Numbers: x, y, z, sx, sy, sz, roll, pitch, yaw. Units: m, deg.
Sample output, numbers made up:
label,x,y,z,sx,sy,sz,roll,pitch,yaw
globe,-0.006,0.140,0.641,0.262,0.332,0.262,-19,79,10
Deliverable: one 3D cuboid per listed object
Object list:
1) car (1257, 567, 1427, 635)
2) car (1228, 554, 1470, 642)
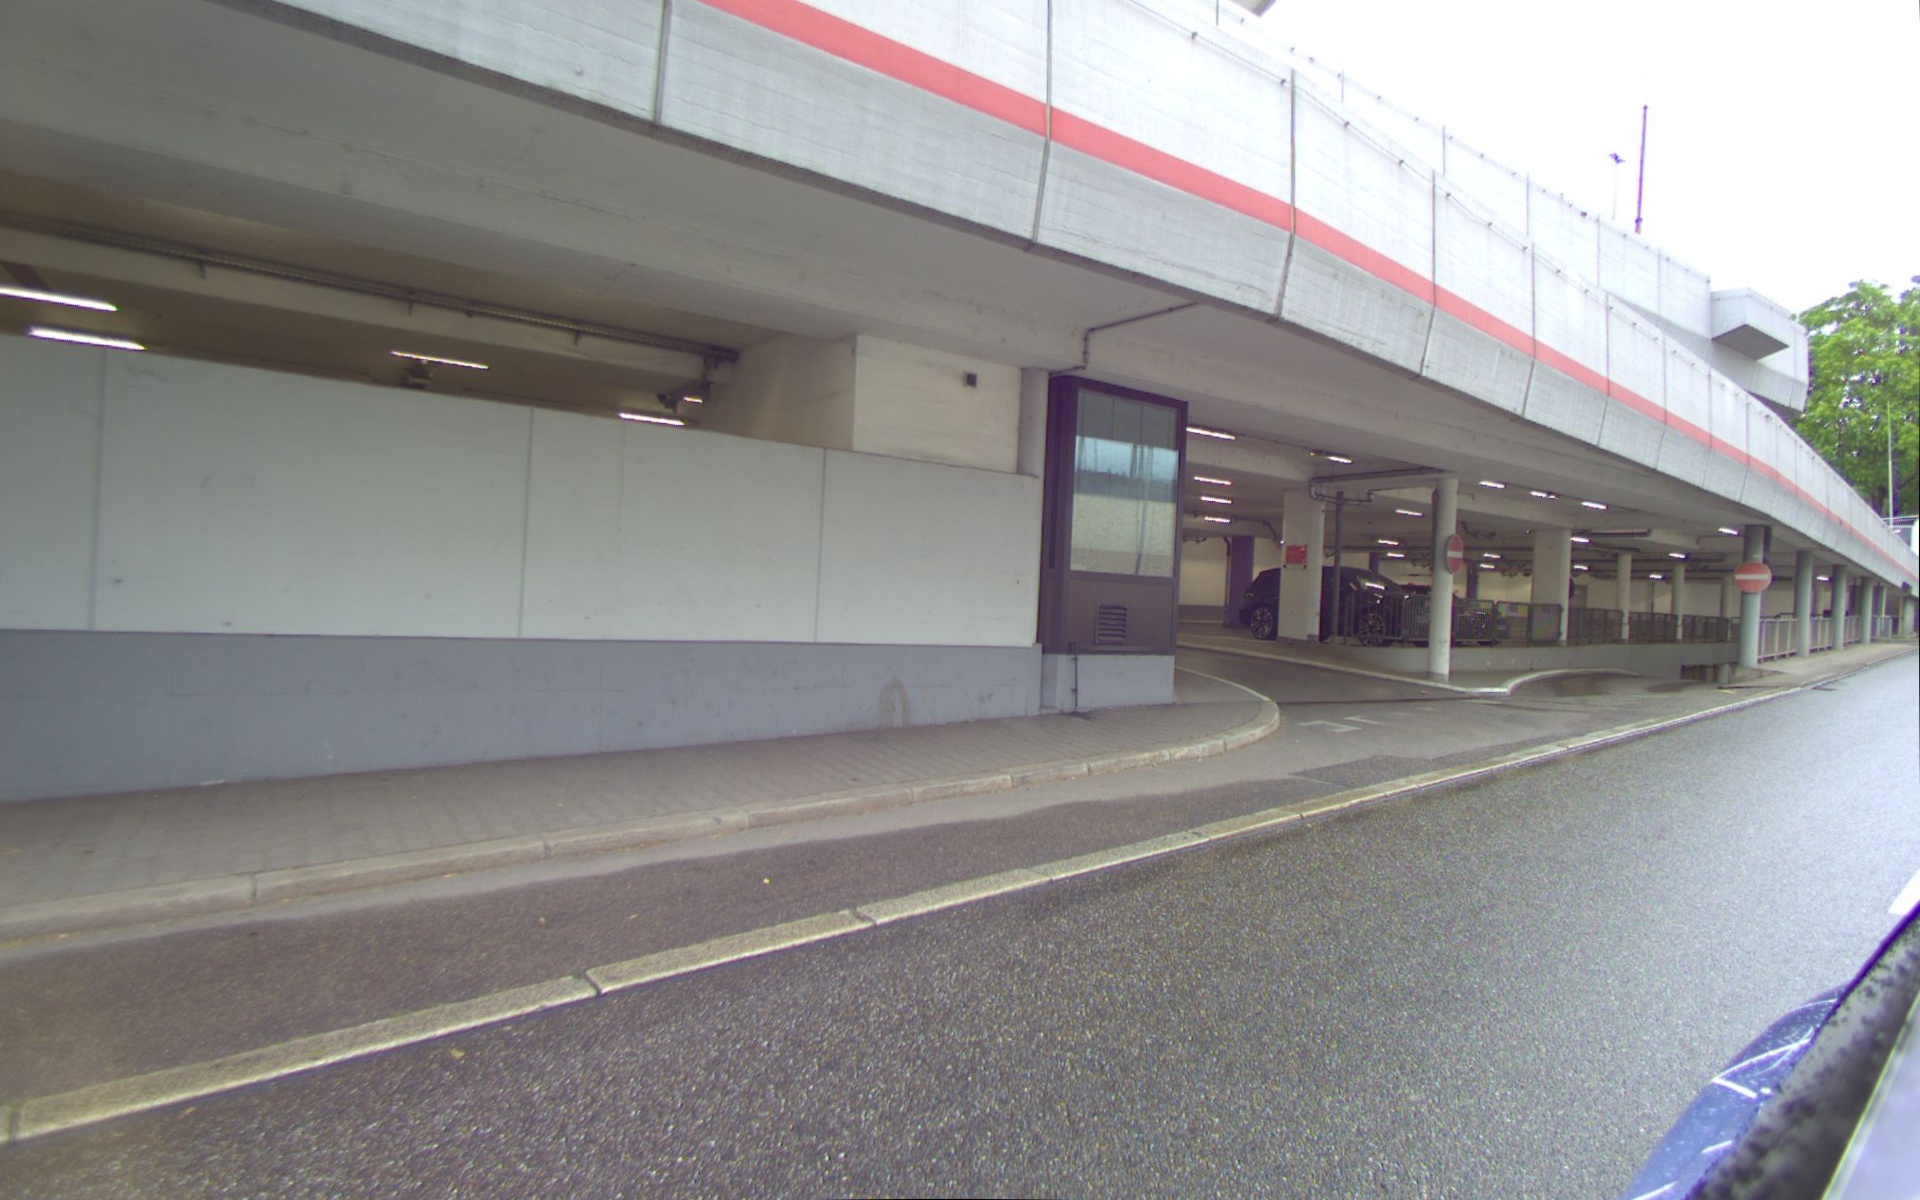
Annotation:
label,x,y,z,sx,sy,sz,roll,pitch,yaw
car,9.814,-0.008,26.215,1.772,1.524,3.738,2,1,-33
car,8.112,-0.085,21.531,1.787,1.660,4.591,0,1,-35
